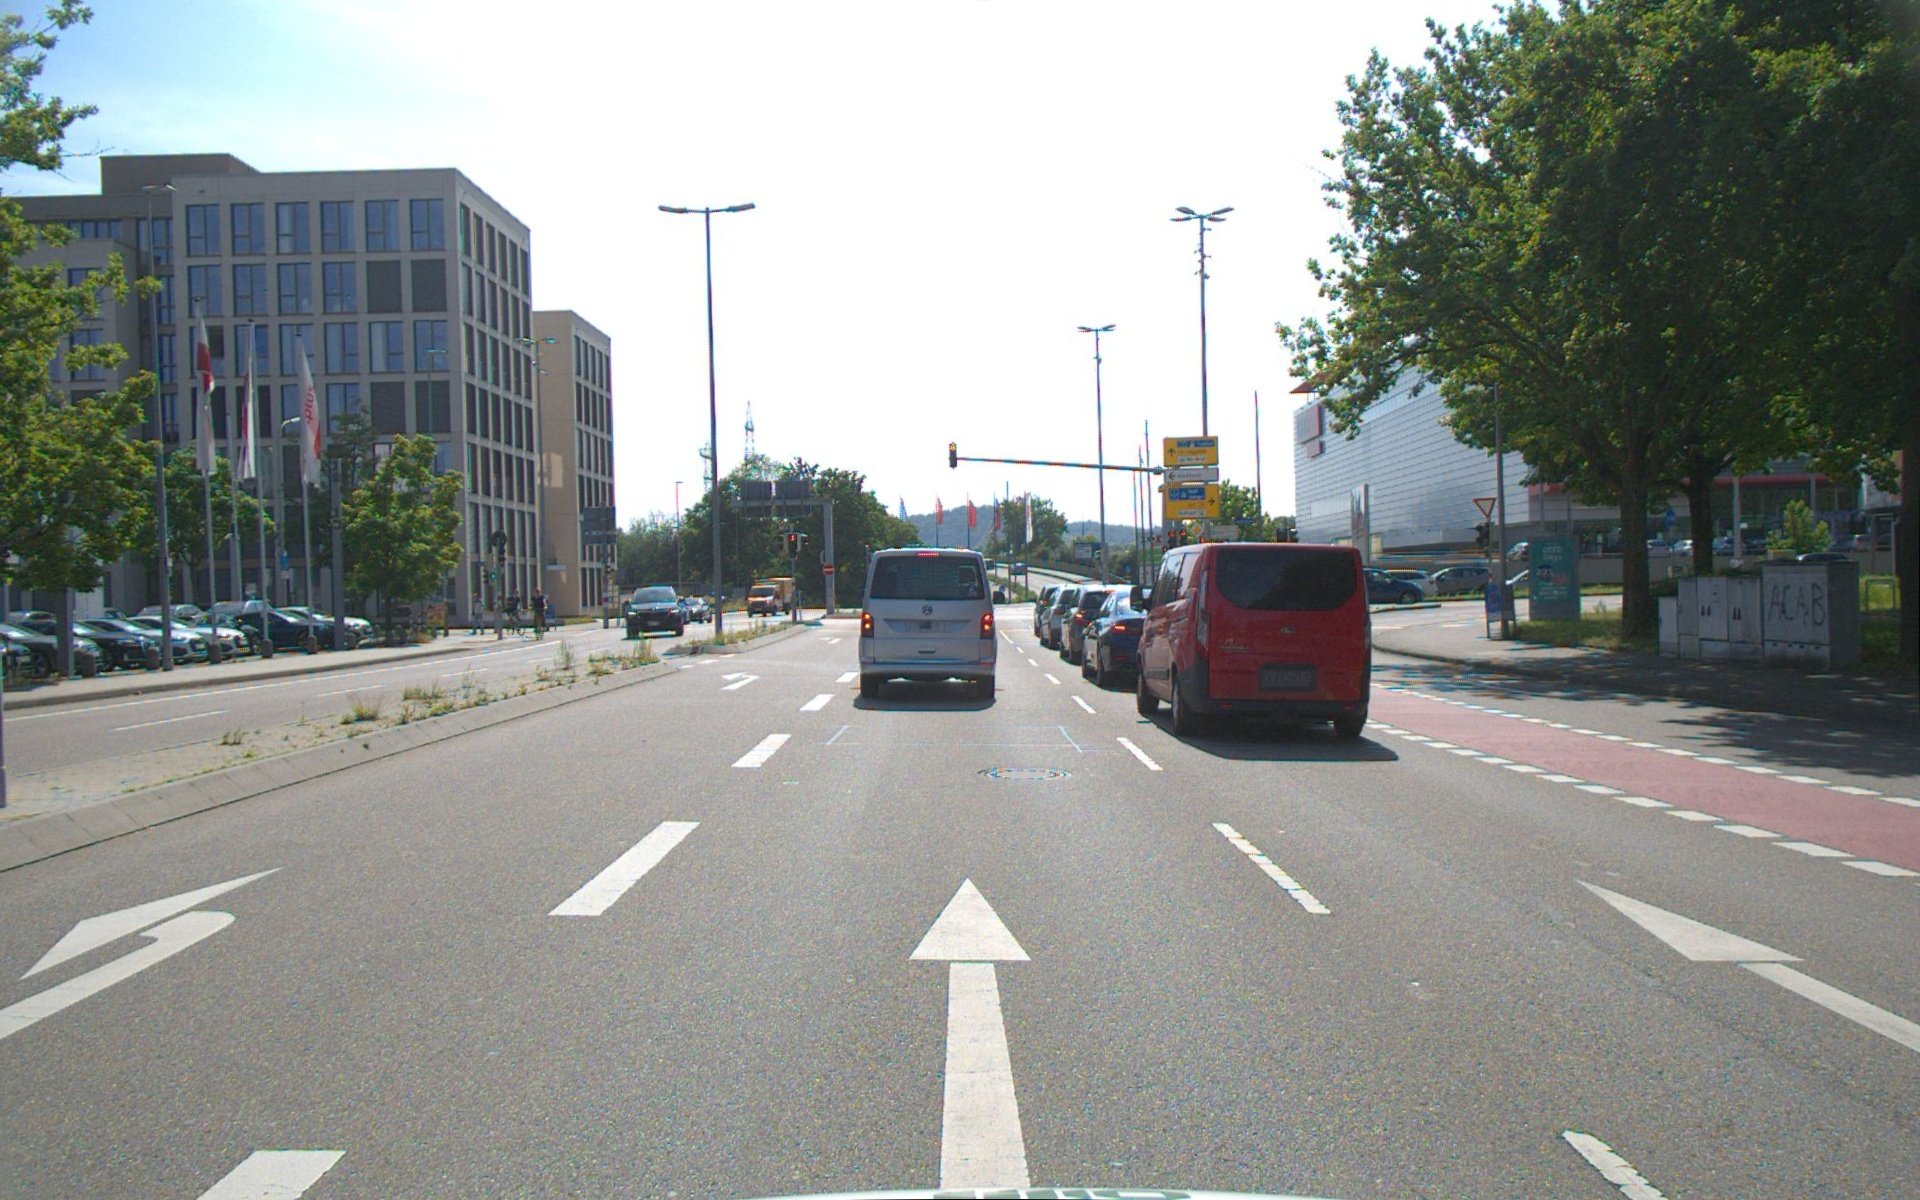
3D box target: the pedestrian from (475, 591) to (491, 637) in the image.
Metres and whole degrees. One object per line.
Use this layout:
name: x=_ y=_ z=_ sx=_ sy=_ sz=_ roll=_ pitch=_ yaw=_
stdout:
pedestrian: x=-21.337 y=0.633 z=73.985 sx=0.546 sy=2.049 sz=0.576 roll=0 pitch=0 yaw=4

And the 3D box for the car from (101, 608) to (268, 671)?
car: x=-21.852 y=1.100 z=46.688 sx=3.794 sy=1.388 sz=1.750 roll=-5 pitch=1 yaw=3

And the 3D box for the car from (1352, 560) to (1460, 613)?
car: x=19.854 y=-0.621 z=73.723 sx=4.310 sy=2.029 sz=1.482 roll=-4 pitch=0 yaw=4

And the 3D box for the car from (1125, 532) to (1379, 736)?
car: x=3.125 y=0.308 z=18.804 sx=1.927 sy=2.002 sz=5.125 roll=0 pitch=1 yaw=-1

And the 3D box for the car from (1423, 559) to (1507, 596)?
car: x=23.320 y=-1.028 z=76.486 sx=3.397 sy=1.455 sz=1.482 roll=-4 pitch=0 yaw=4

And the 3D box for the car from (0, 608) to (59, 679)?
car: x=-21.982 y=1.083 z=35.931 sx=3.794 sy=1.444 sz=1.660 roll=-5 pitch=1 yaw=3

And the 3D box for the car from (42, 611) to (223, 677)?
car: x=-22.007 y=1.148 z=44.054 sx=3.794 sy=1.356 sz=1.849 roll=-5 pitch=1 yaw=3

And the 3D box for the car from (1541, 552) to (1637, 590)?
car: x=30.722 y=-1.429 z=80.800 sx=4.046 sy=1.545 sz=1.482 roll=-4 pitch=0 yaw=4

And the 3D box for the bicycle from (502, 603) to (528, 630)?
bicycle: x=-18.309 y=0.675 z=68.062 sx=0.573 sy=1.069 sz=1.876 roll=-1 pitch=0 yaw=-1

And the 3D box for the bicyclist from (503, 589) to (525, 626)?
bicyclist: x=-18.369 y=0.306 z=68.087 sx=0.617 sy=1.527 sz=1.028 roll=-1 pitch=0 yaw=-1

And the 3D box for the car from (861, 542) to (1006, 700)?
car: x=-0.357 y=0.254 z=23.230 sx=1.846 sy=2.025 sz=4.000 roll=0 pitch=0 yaw=-1

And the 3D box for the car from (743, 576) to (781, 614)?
car: x=-14.351 y=-0.386 z=120.159 sx=2.358 sy=2.605 sz=6.888 roll=-2 pitch=1 yaw=-5

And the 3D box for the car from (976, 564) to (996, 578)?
car: x=3.917 y=-4.420 z=249.823 sx=1.961 sy=2.049 sz=3.983 roll=0 pitch=1 yaw=-15

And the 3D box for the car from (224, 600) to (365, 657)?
car: x=-21.922 y=0.932 z=54.588 sx=3.795 sy=1.490 sz=1.868 roll=-5 pitch=1 yaw=1

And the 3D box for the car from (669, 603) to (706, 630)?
car: x=-15.631 y=0.940 z=94.986 sx=1.545 sy=1.434 sz=4.377 roll=-2 pitch=1 yaw=-3

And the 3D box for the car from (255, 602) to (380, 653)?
car: x=-22.006 y=0.930 z=56.701 sx=3.521 sy=1.381 sz=1.640 roll=-5 pitch=1 yaw=0

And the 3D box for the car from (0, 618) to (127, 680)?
car: x=-21.910 y=1.211 z=38.751 sx=3.794 sy=1.172 sz=1.796 roll=-5 pitch=1 yaw=3

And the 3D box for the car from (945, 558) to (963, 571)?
car: x=-0.995 y=-5.641 z=262.643 sx=1.961 sy=2.049 sz=3.983 roll=0 pitch=1 yaw=-15

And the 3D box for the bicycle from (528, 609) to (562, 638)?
bicycle: x=-14.544 y=0.807 z=57.984 sx=0.666 sy=0.957 sz=1.973 roll=-2 pitch=0 yaw=0

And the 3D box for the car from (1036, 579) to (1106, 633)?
car: x=3.289 y=0.148 z=49.705 sx=1.799 sy=1.552 sz=4.000 roll=0 pitch=1 yaw=-1

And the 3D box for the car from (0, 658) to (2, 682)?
car: x=-21.980 y=1.230 z=33.331 sx=4.081 sy=1.354 sz=2.038 roll=-5 pitch=1 yaw=3

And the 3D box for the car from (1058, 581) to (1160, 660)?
car: x=3.061 y=0.387 z=34.642 sx=1.711 sy=1.543 sz=4.077 roll=0 pitch=1 yaw=-1

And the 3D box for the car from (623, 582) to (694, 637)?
car: x=-10.047 y=0.297 z=55.402 sx=1.704 sy=1.646 sz=4.207 roll=-4 pitch=1 yaw=-3

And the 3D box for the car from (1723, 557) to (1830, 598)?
car: x=37.183 y=-1.015 z=75.405 sx=4.046 sy=1.545 sz=1.482 roll=-4 pitch=0 yaw=4

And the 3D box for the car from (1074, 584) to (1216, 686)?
car: x=2.861 y=0.488 z=26.440 sx=1.711 sy=1.484 sz=4.475 roll=0 pitch=1 yaw=-1

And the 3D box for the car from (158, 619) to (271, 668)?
car: x=-22.857 y=1.319 z=50.844 sx=1.819 sy=1.194 sz=3.430 roll=-5 pitch=1 yaw=0

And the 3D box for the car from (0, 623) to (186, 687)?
car: x=-21.825 y=1.361 z=41.521 sx=3.794 sy=1.186 sz=1.912 roll=-5 pitch=1 yaw=3

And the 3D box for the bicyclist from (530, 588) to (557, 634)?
bicyclist: x=-14.589 y=0.373 z=57.923 sx=0.606 sy=1.553 sz=1.036 roll=-2 pitch=0 yaw=0

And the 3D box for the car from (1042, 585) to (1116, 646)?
car: x=2.972 y=0.354 z=41.875 sx=1.546 sy=1.483 sz=3.785 roll=0 pitch=1 yaw=-1

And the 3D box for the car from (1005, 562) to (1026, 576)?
car: x=7.864 y=-4.366 z=234.279 sx=1.961 sy=2.049 sz=3.983 roll=0 pitch=1 yaw=-15

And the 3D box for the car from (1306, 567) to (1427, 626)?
car: x=15.997 y=-0.138 z=65.268 sx=4.311 sy=2.029 sz=1.481 roll=-4 pitch=0 yaw=2
